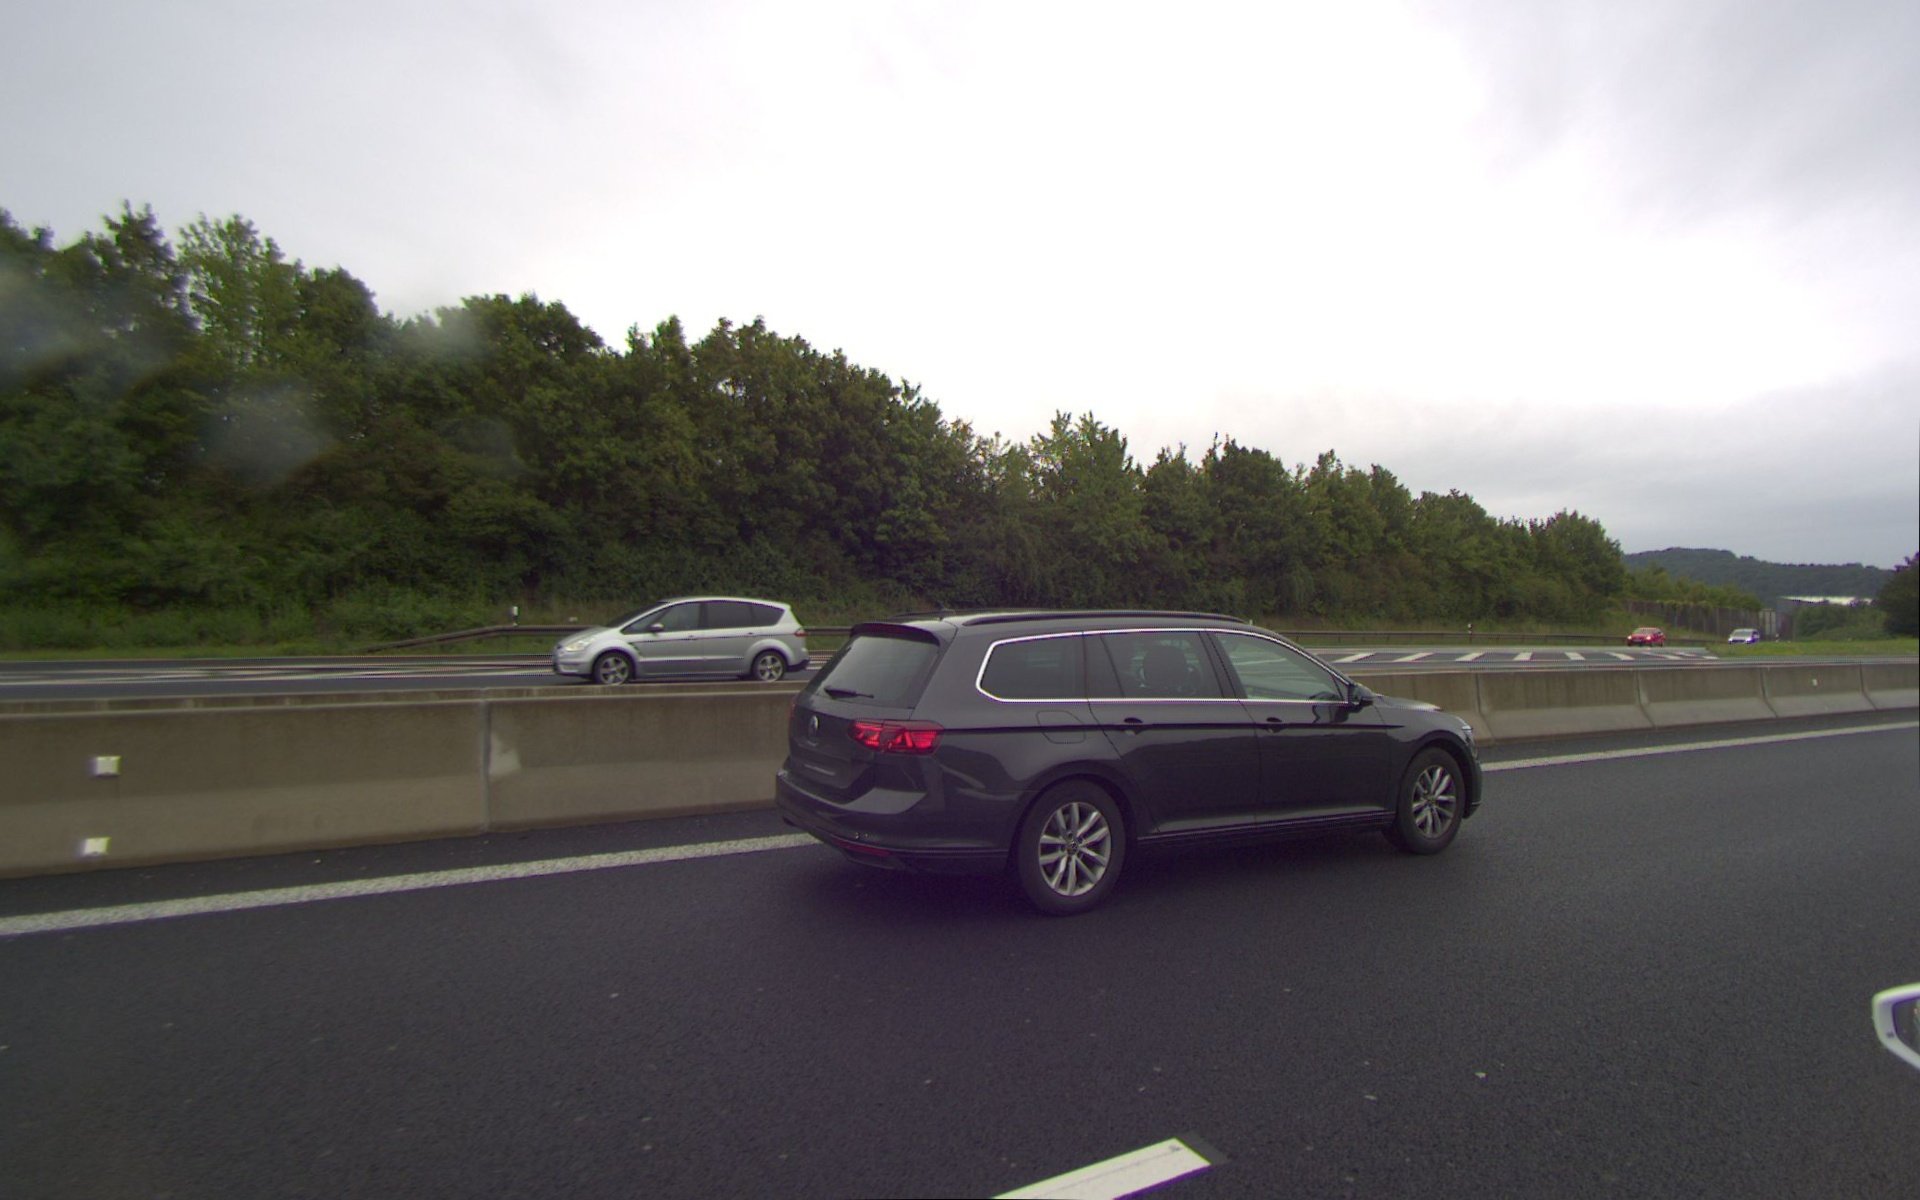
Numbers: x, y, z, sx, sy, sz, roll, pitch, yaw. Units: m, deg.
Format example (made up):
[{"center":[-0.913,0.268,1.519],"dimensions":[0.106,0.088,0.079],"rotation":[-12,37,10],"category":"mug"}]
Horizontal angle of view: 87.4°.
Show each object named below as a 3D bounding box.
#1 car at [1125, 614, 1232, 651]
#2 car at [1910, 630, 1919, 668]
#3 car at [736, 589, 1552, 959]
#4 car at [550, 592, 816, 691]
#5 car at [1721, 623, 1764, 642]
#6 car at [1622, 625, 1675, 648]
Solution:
[{"center":[9.179,1.345,42.101],"dimensions":[4.350,1.449,2.162],"rotation":[1,-1,-39],"category":"car"},{"center":[45.971,2.246,45.824],"dimensions":[5.181,1.718,2.172],"rotation":[1,-1,-26],"category":"car"},{"center":[1.257,0.777,6.125],"dimensions":[4.792,1.517,1.892],"rotation":[2,-1,-29],"category":"car"},{"center":[-5.213,0.739,18.950],"dimensions":[4.481,1.656,2.171],"rotation":[1,-1,-29],"category":"car"},{"center":[74.445,3.037,95.499],"dimensions":[4.526,1.718,2.164],"rotation":[1,-1,-38],"category":"car"},{"center":[53.090,2.781,77.468],"dimensions":[4.588,1.718,2.162],"rotation":[1,-1,-39],"category":"car"}]
